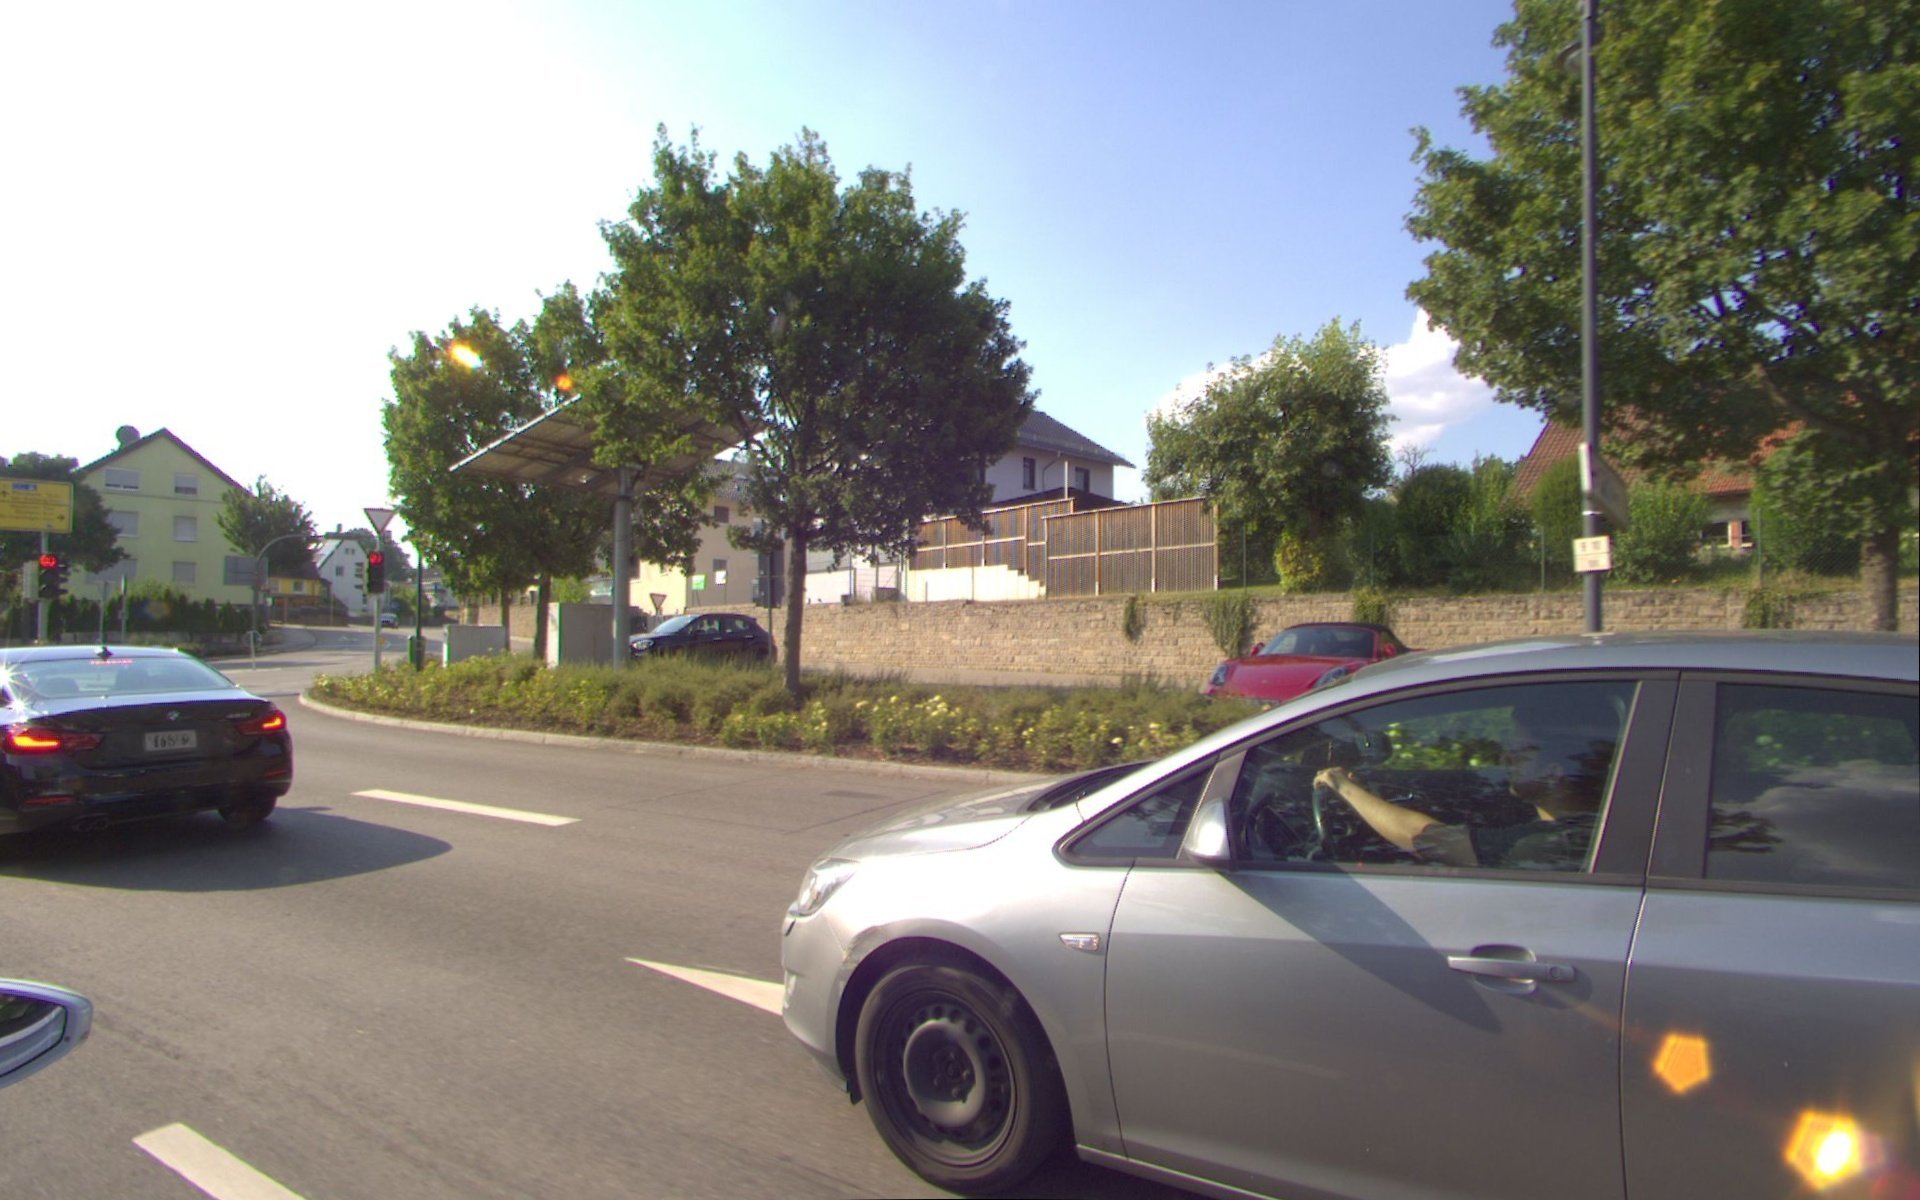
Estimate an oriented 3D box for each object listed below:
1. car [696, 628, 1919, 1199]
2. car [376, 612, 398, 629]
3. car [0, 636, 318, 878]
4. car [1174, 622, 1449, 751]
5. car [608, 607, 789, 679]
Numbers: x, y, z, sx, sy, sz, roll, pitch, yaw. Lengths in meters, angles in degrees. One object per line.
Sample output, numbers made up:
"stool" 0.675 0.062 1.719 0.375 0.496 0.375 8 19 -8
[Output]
"car" 1.397 0.811 2.696 4.107 1.460 1.741 -1 -2 32
"car" -59.118 2.120 103.331 1.765 1.527 4.049 1 1 -27
"car" -6.978 0.991 7.776 4.287 1.406 1.812 -1 -2 34
"car" 4.383 0.938 12.136 1.833 1.288 3.969 -1 -2 41
"car" -6.361 1.049 24.628 1.835 1.628 3.964 -1 -2 44
